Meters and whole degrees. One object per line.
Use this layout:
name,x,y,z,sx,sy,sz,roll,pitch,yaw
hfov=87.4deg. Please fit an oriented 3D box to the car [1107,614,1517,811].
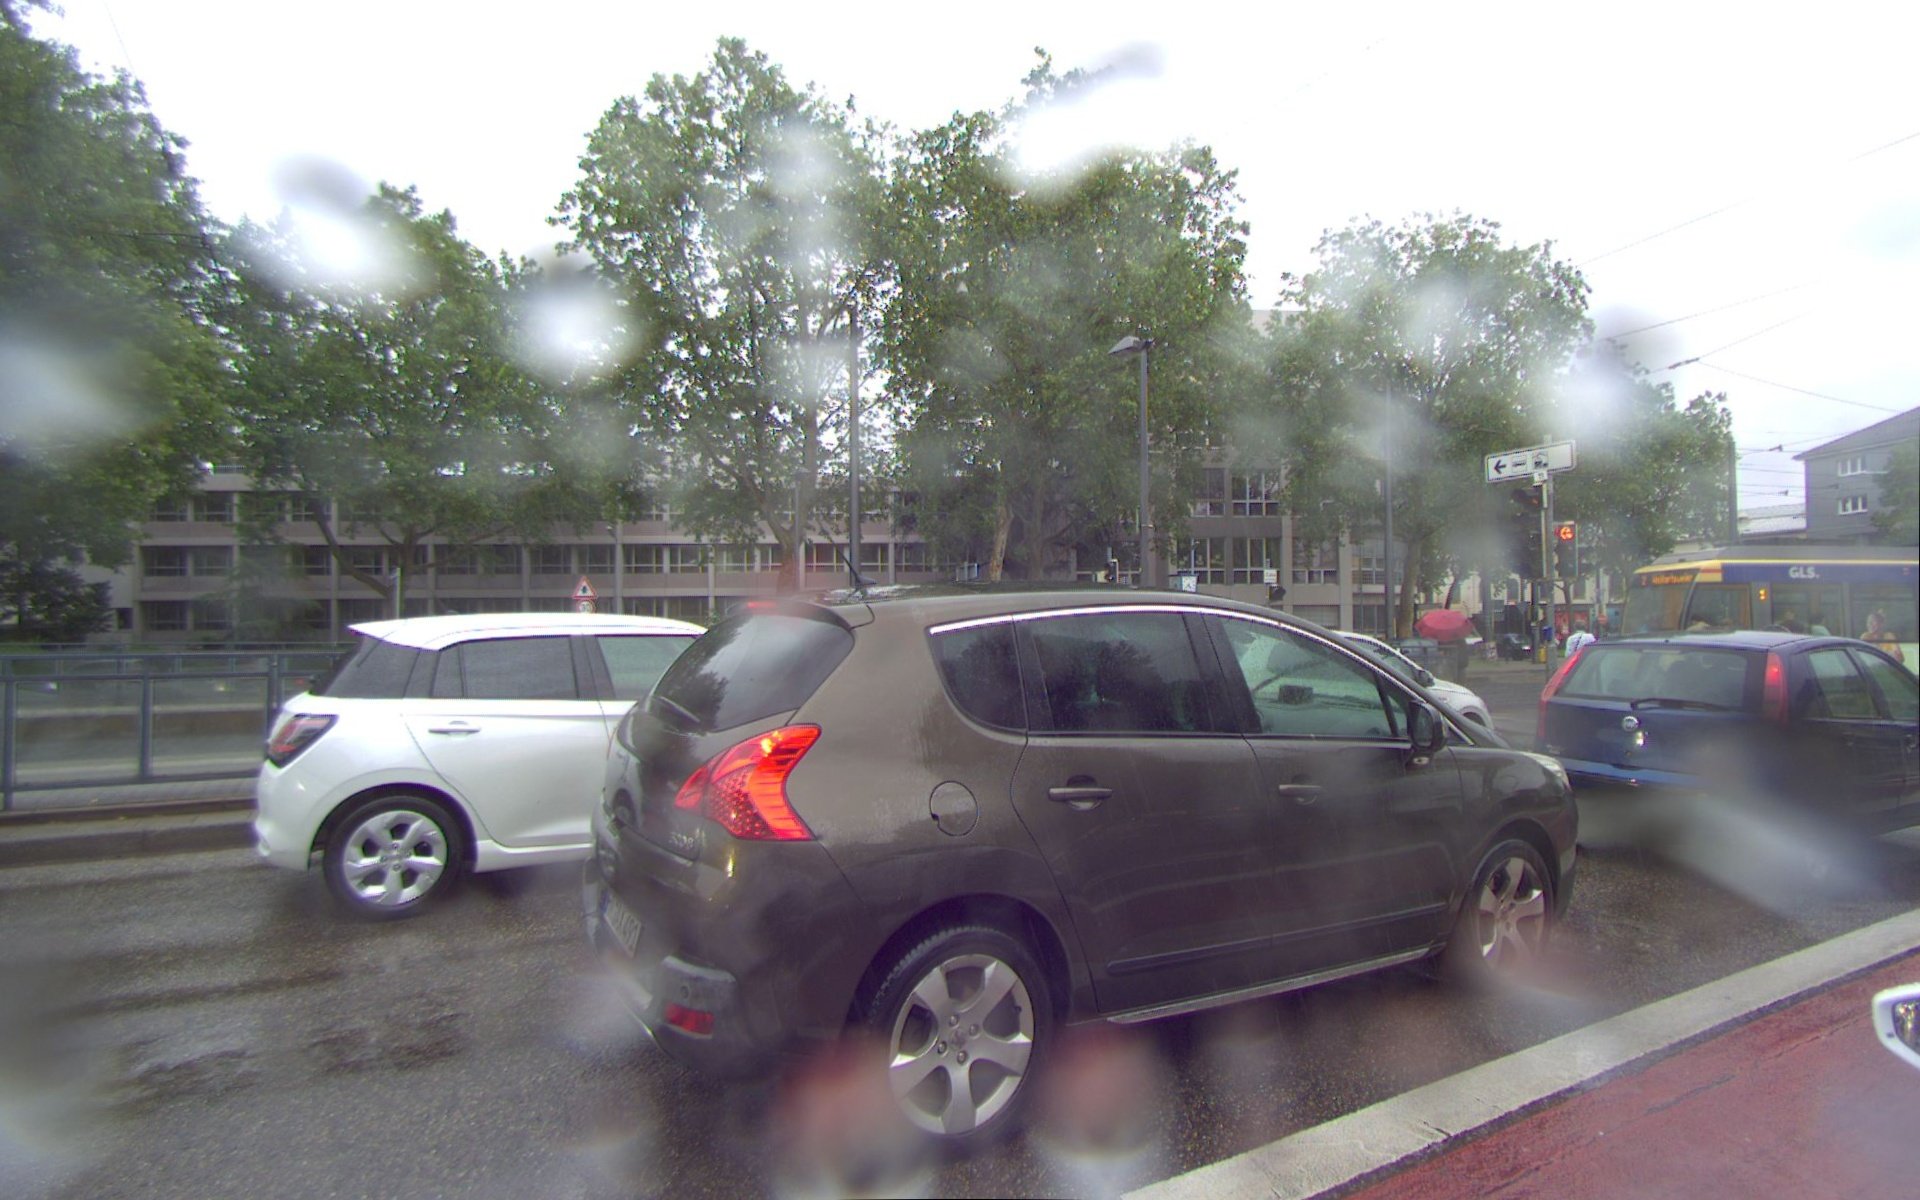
car,3.372,0.926,9.481,3.738,1.514,1.621,1,-1,-30

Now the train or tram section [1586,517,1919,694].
train or tram section,21.950,0.246,23.035,13.399,3.559,3.522,2,0,-5

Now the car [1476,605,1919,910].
car,5.542,0.875,6.989,3.776,1.599,1.719,1,-1,-30

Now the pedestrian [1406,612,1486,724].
pedestrian,7.990,1.102,16.510,0.888,1.769,0.762,0,-3,-30

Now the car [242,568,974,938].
car,-1.956,0.738,6.159,3.791,1.650,1.637,1,-2,-30

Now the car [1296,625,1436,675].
car,11.583,1.419,28.683,3.466,1.331,1.594,1,-1,-16

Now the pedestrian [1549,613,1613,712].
pedestrian,10.473,1.040,16.951,0.733,1.628,0.622,1,0,-28

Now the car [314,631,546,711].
car,-10.641,1.374,20.333,3.953,1.405,1.984,2,-1,-30

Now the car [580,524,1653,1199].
car,0.779,0.721,4.112,4.124,1.690,1.825,1,-1,-30
